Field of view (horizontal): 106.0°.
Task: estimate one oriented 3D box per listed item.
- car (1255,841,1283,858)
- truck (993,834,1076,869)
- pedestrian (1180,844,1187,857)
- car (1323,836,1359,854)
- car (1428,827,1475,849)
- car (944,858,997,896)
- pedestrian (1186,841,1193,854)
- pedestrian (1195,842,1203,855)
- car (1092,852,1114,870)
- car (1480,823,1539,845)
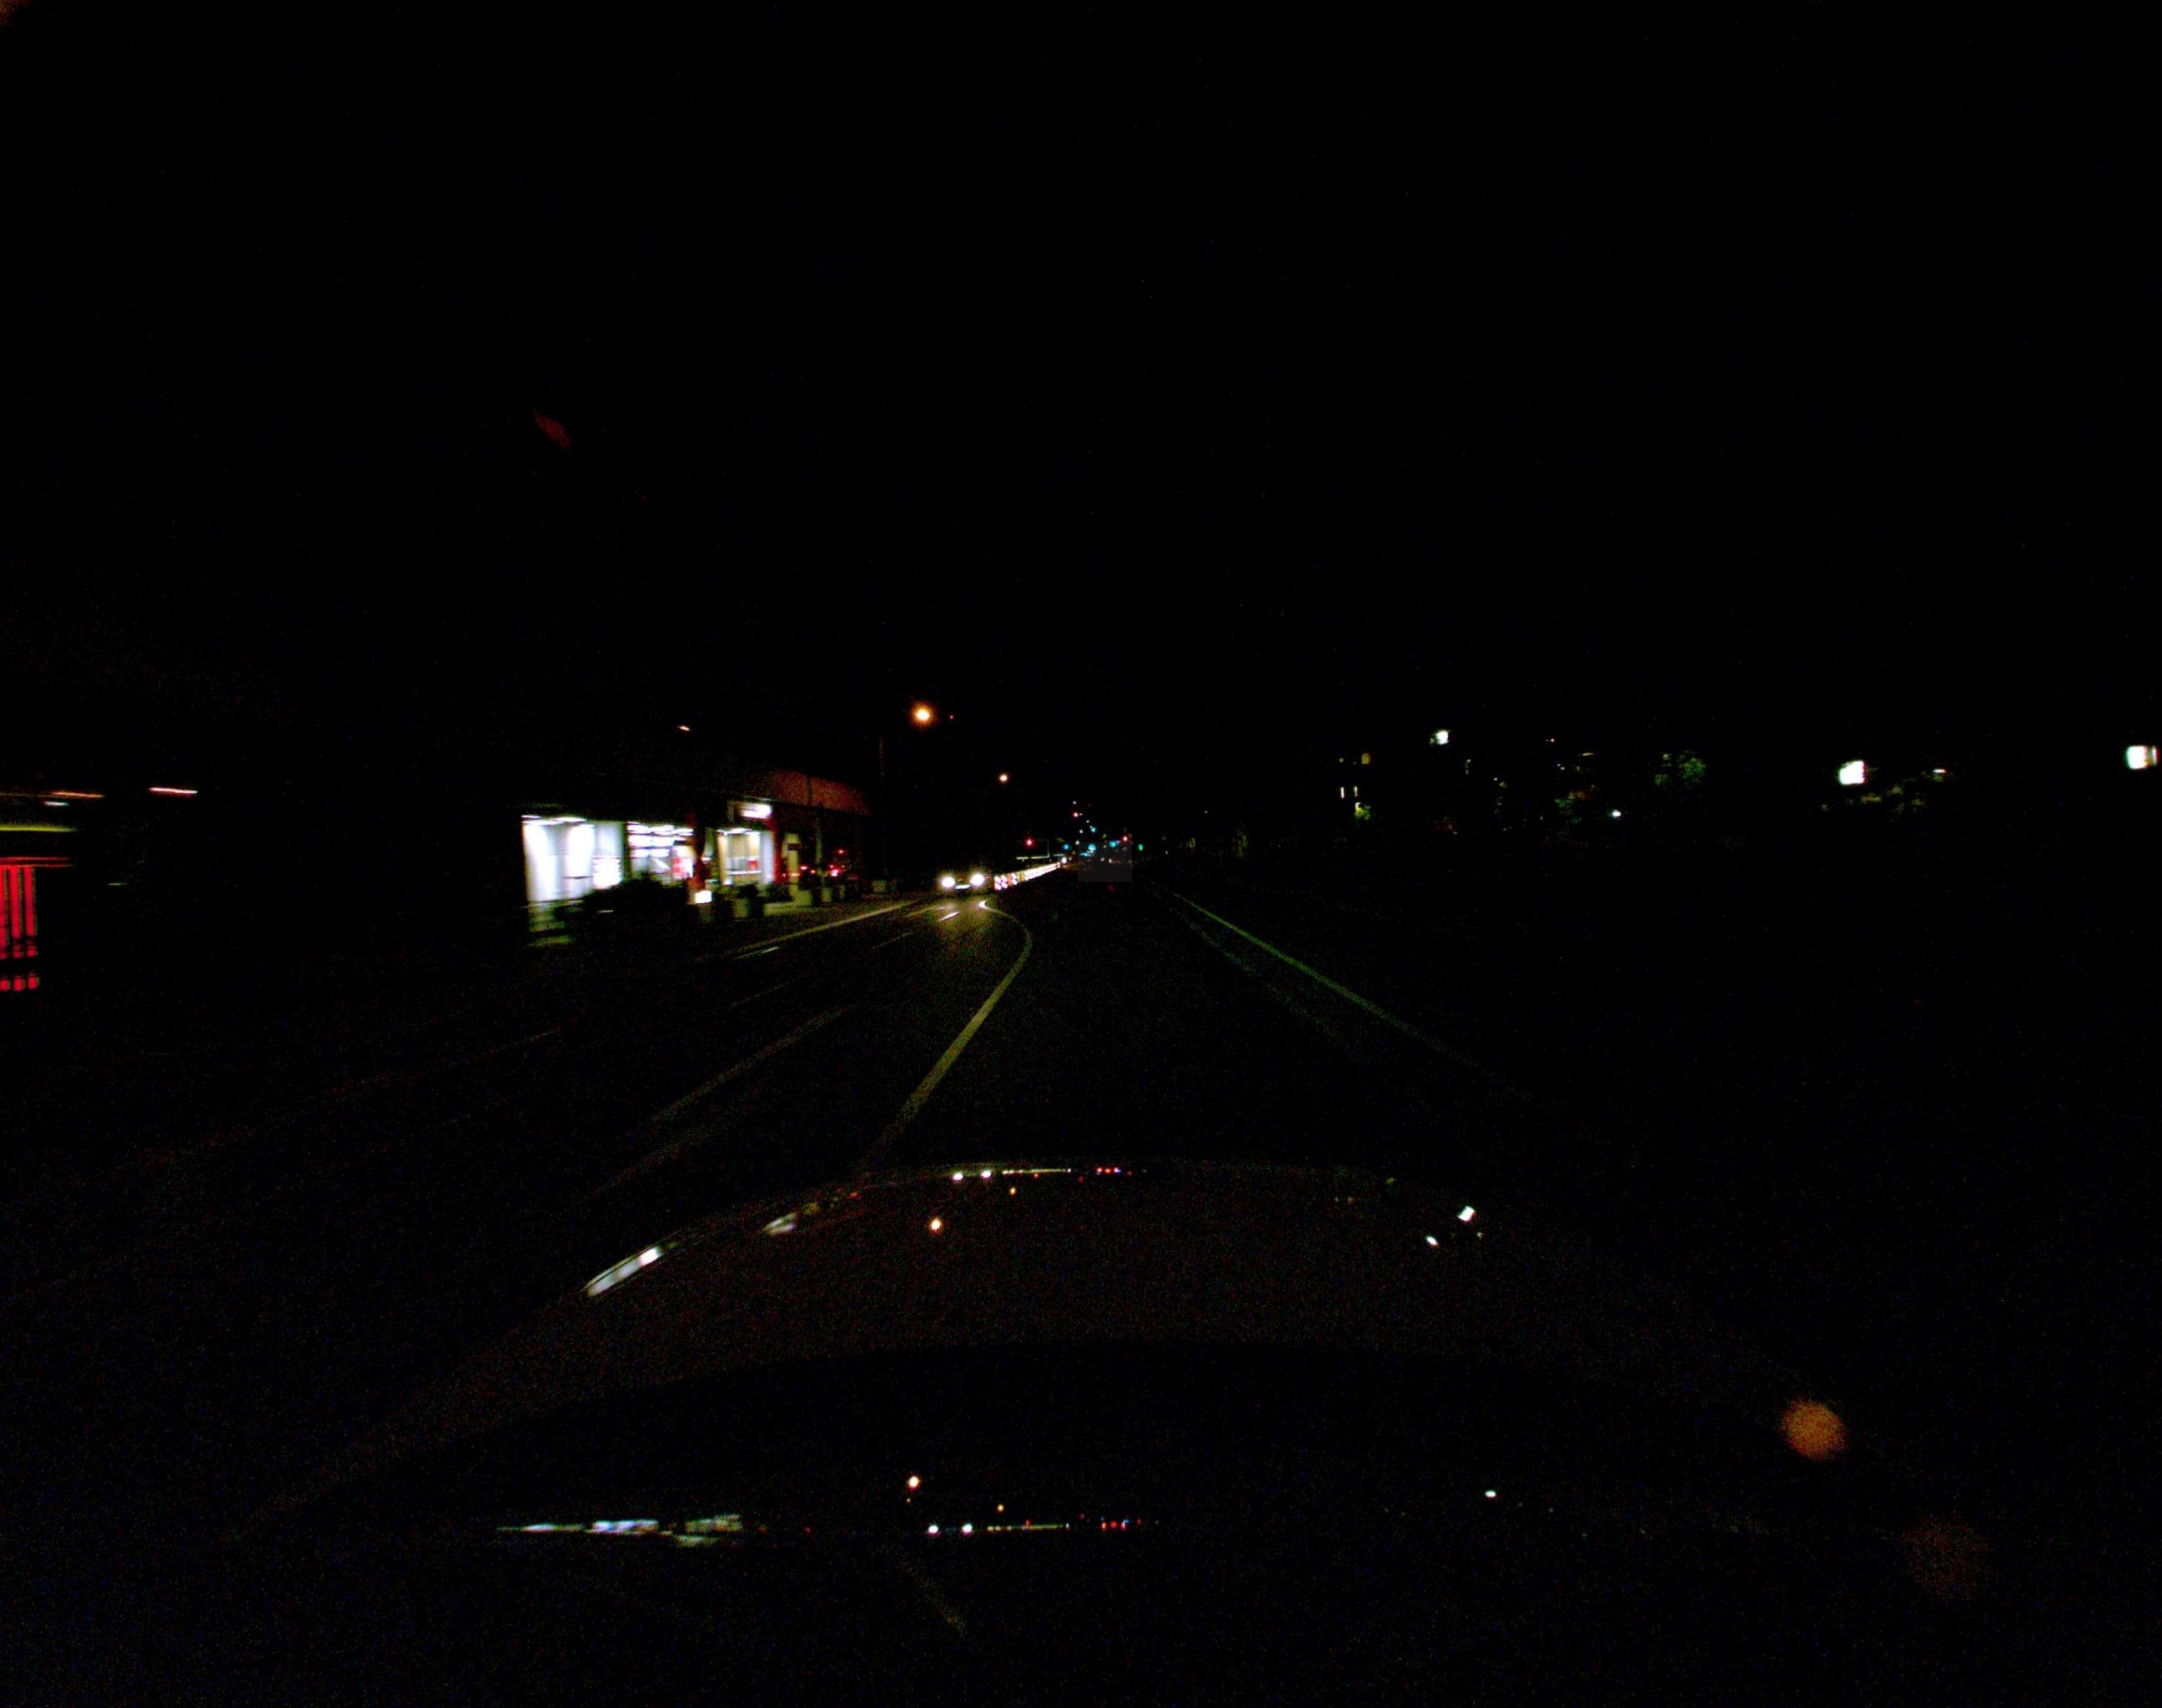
[{"bbox_3d":[17.292,-0.413,75.113,1.507,1.395,4.482,-3,0,1],"label":"car"},{"bbox_3d":[-6.008,-0.272,104.915,10.000,3.717,2.777,-4,0,17],"label":"truck"},{"bbox_3d":[14.480,-0.484,114.856,0.711,1.769,0.907,-4,0,1],"label":"pedestrian"},{"bbox_3d":[23.990,-0.806,75.173,1.778,1.533,3.995,-3,0,-3],"label":"car"},{"bbox_3d":[28.265,-1.164,62.247,1.762,1.533,4.100,-3,0,1],"label":"car"},{"bbox_3d":[-4.870,0.968,36.246,1.661,1.428,4.000,-5,0,0],"label":"car"},{"bbox_3d":[15.273,-0.937,114.859,0.736,1.769,0.907,-4,0,1],"label":"pedestrian"},{"bbox_3d":[16.626,-0.718,114.931,0.898,1.769,0.906,-4,0,-2],"label":"pedestrian"},{"bbox_3d":[1.939,0.554,70.378,1.798,1.494,4.732,-1,0,2],"label":"car"},{"bbox_3d":[33.080,-1.492,63.024,1.883,1.512,4.891,-3,0,0],"label":"car"}]
